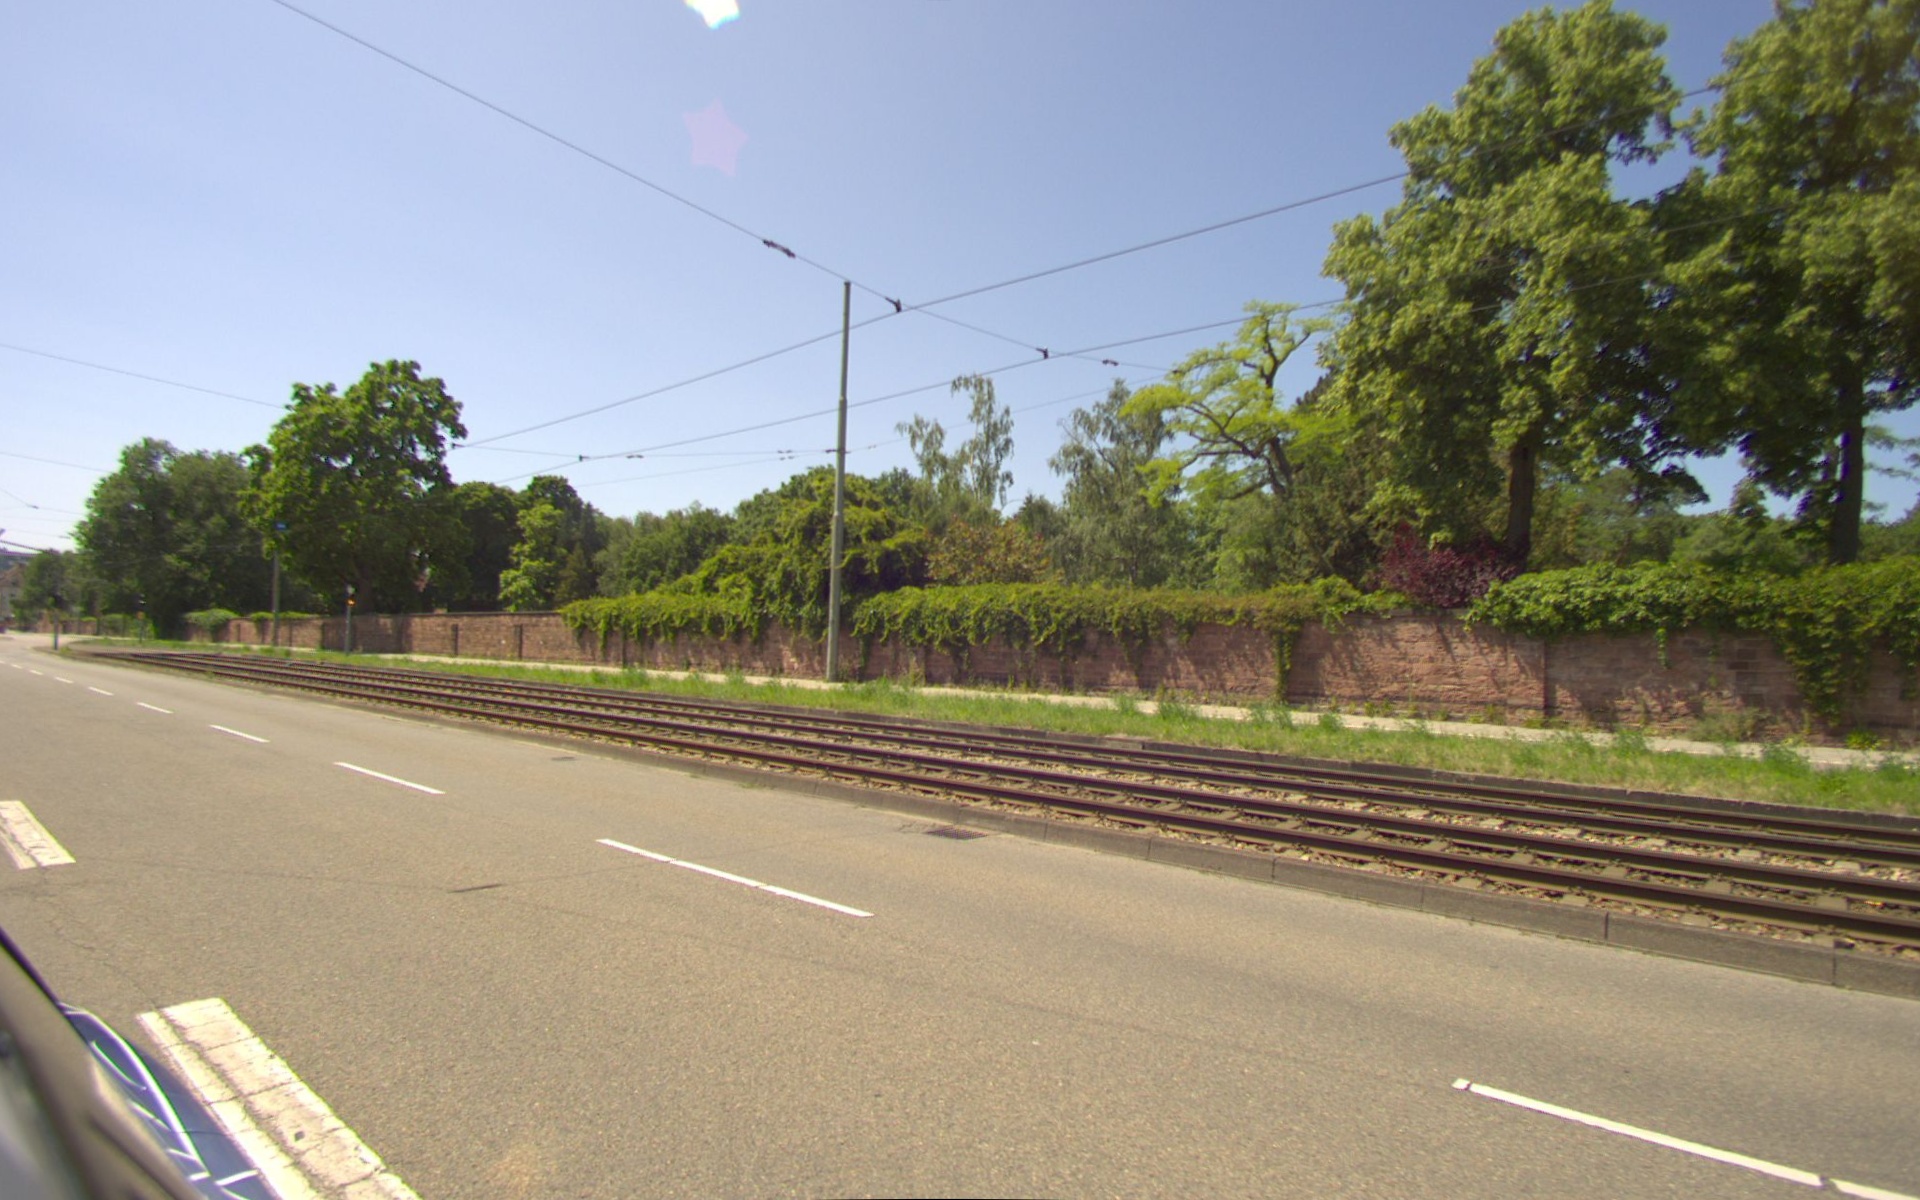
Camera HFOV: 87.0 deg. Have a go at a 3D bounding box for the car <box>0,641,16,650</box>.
[{"bbox_3d":[-151.074,7.136,159.112,1.685,1.425,4.287,1,-2,-6],"label":"car"}]
